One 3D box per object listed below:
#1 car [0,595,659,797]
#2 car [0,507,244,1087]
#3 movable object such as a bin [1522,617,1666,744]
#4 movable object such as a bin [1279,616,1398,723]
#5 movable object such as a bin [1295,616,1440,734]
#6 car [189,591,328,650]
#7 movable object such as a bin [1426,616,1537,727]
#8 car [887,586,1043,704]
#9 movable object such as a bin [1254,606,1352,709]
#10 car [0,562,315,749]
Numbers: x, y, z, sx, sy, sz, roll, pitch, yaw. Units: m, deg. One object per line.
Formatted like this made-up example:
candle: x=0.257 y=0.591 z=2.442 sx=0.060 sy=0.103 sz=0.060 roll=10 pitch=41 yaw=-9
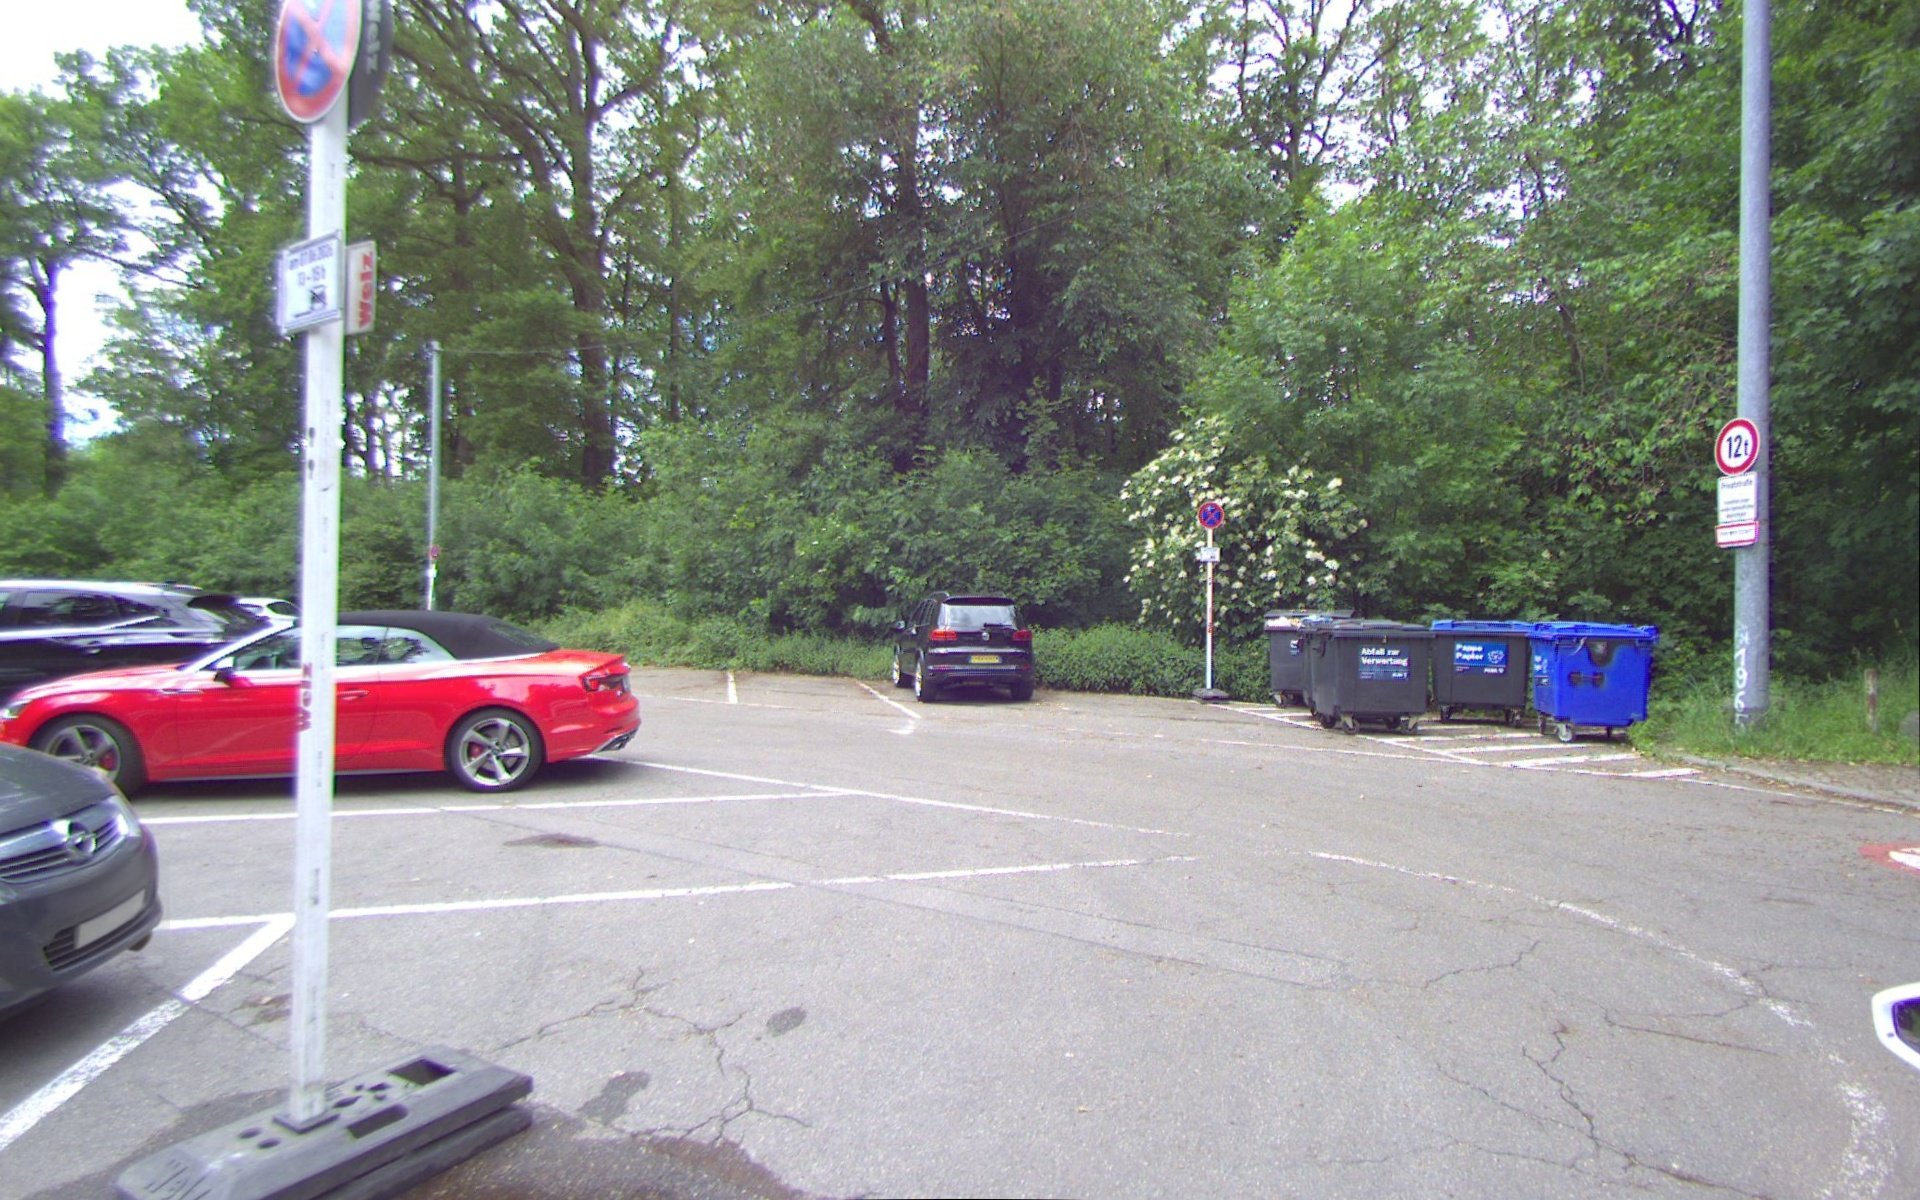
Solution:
car: x=-4.836 y=0.710 z=8.430 sx=4.317 sy=1.412 sz=1.764 roll=1 pitch=0 yaw=-14
car: x=-4.933 y=0.531 z=2.862 sx=4.315 sy=1.630 sz=1.824 roll=1 pitch=0 yaw=-16
movable object such as a bin: x=7.261 y=0.883 z=11.592 sx=1.124 sy=1.342 sz=1.257 roll=1 pitch=0 yaw=19
movable object such as a bin: x=4.994 y=0.894 z=13.344 sx=1.161 sy=1.332 sz=1.127 roll=1 pitch=0 yaw=2
movable object such as a bin: x=4.886 y=0.870 z=12.147 sx=1.287 sy=1.324 sz=1.173 roll=1 pitch=0 yaw=2
car: x=-19.674 y=0.562 z=28.402 sx=1.837 sy=1.530 sz=3.990 roll=1 pitch=0 yaw=-13
movable object such as a bin: x=6.785 y=0.894 z=13.120 sx=1.217 sy=1.337 sz=1.126 roll=1 pitch=0 yaw=27
car: x=-0.051 y=0.659 z=16.711 sx=1.753 sy=1.707 sz=4.062 roll=1 pitch=0 yaw=-12
movable object such as a bin: x=5.130 y=0.830 z=14.989 sx=1.112 sy=1.444 sz=1.123 roll=1 pitch=0 yaw=34
car: x=-8.980 y=0.503 z=9.956 sx=3.934 sy=1.685 sz=1.892 roll=1 pitch=0 yaw=-16
